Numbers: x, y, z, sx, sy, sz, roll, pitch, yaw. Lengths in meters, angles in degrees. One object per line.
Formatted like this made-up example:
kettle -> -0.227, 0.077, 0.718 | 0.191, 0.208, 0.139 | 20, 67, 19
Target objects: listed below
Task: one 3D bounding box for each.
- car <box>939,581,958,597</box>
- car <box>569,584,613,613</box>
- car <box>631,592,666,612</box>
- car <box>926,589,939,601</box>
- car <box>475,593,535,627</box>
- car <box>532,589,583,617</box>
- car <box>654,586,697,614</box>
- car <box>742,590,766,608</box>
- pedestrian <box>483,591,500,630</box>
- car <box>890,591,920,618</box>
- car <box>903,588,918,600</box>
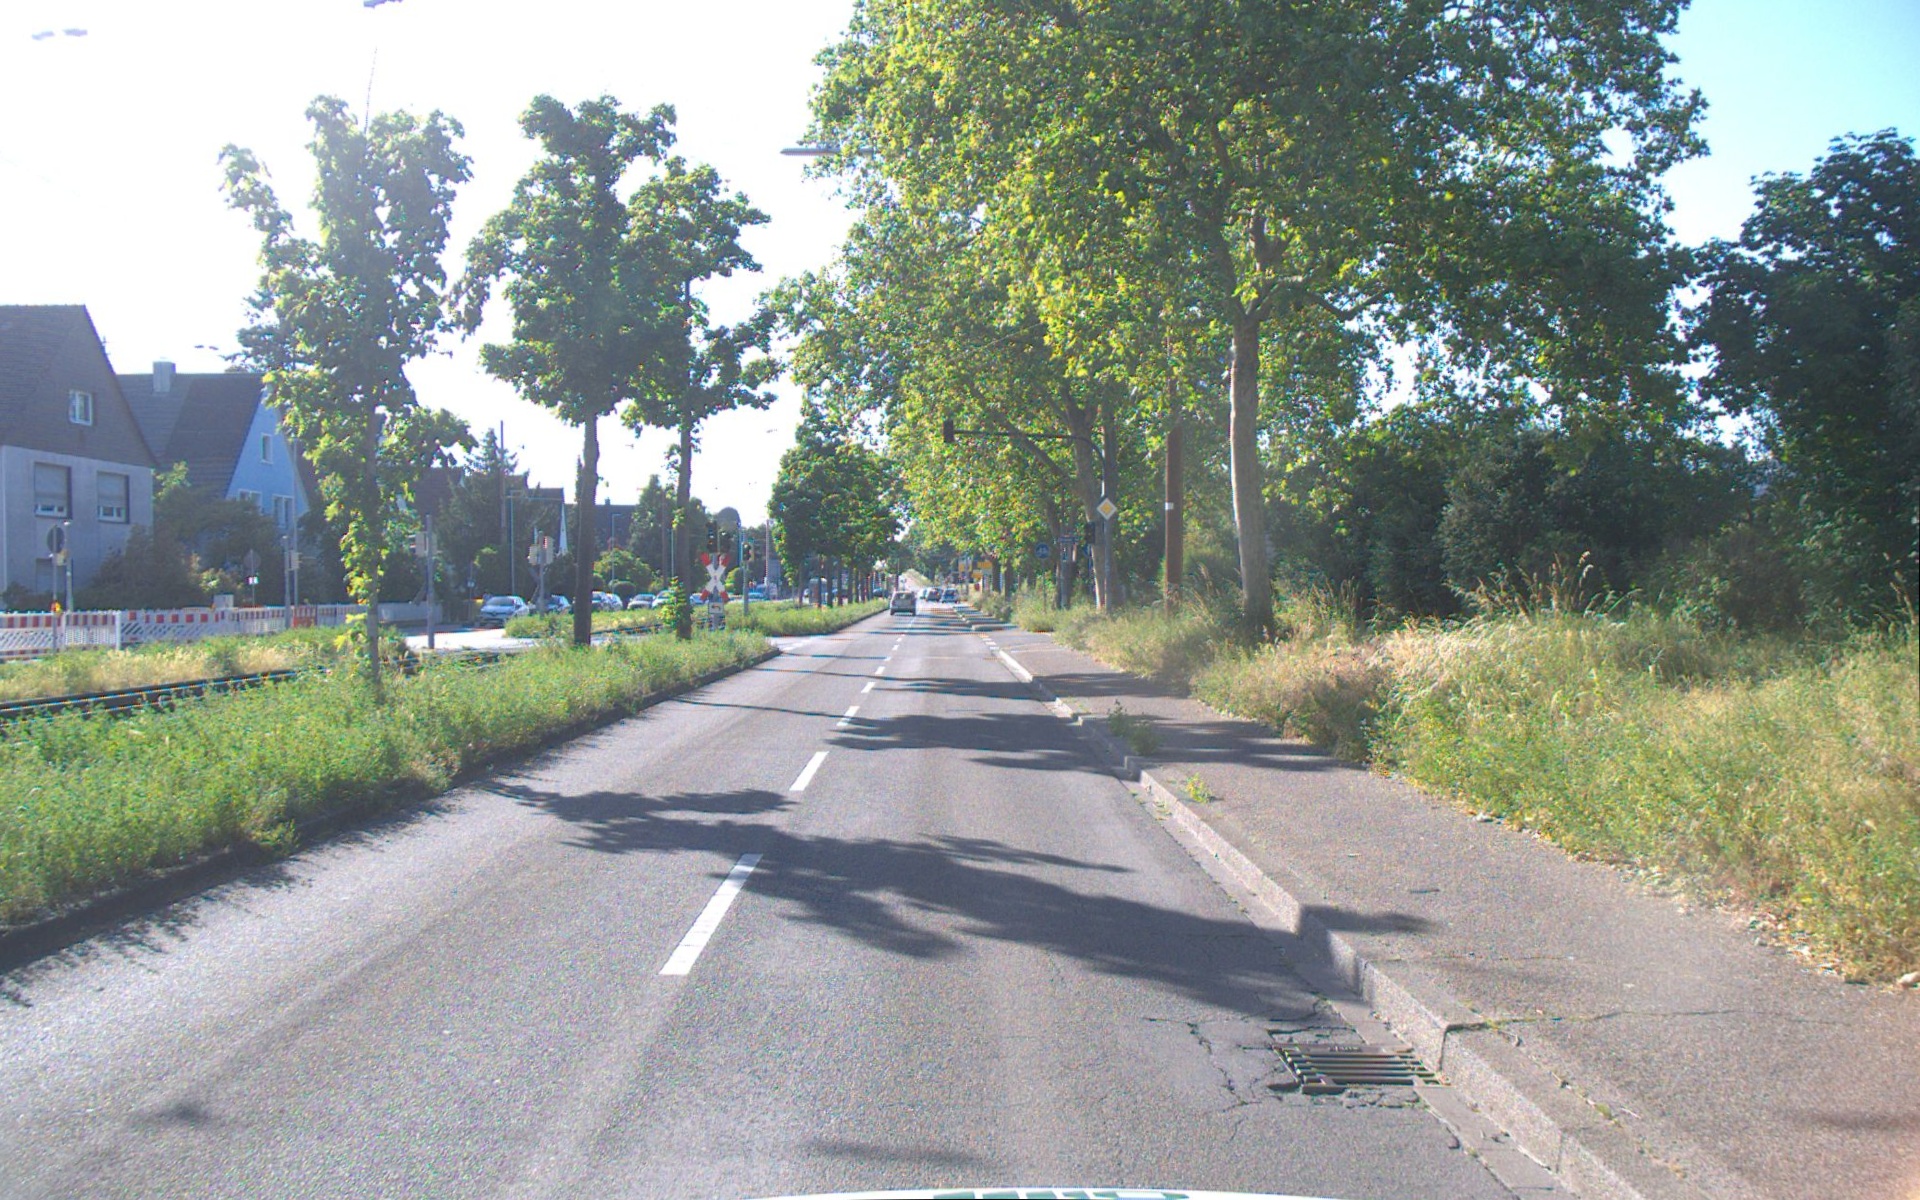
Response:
car -> -1.288, -1.199, 177.458 | 1.953, 1.631, 4.472 | 0, 0, -1
car -> -22.334, -0.097, 100.189 | 1.712, 1.679, 4.554 | 0, 0, -1
car -> -22.440, 0.119, 119.360 | 1.822, 1.393, 4.227 | 0, 0, -1
car -> -3.632, -0.711, 218.581 | 1.755, 1.586, 4.227 | 0, 0, -1
car -> -21.983, 0.463, 80.041 | 1.822, 1.569, 4.227 | 0, 0, -1
car -> -21.626, 0.151, 88.936 | 1.694, 1.491, 4.601 | 0, 0, -1
car -> -17.391, -0.022, 101.133 | 1.953, 1.631, 4.472 | 0, 0, -1
car -> -18.602, -0.104, 149.423 | 1.627, 1.579, 4.809 | 0, 0, -1
pedestrian -> -24.571, 0.549, 86.697 | 0.667, 2.049, 0.772 | 0, 0, -2
car -> -3.417, 0.256, 103.758 | 1.822, 1.629, 4.227 | 0, 0, -1
car -> -6.617, -0.801, 219.882 | 1.953, 1.631, 4.472 | 0, 0, -1
